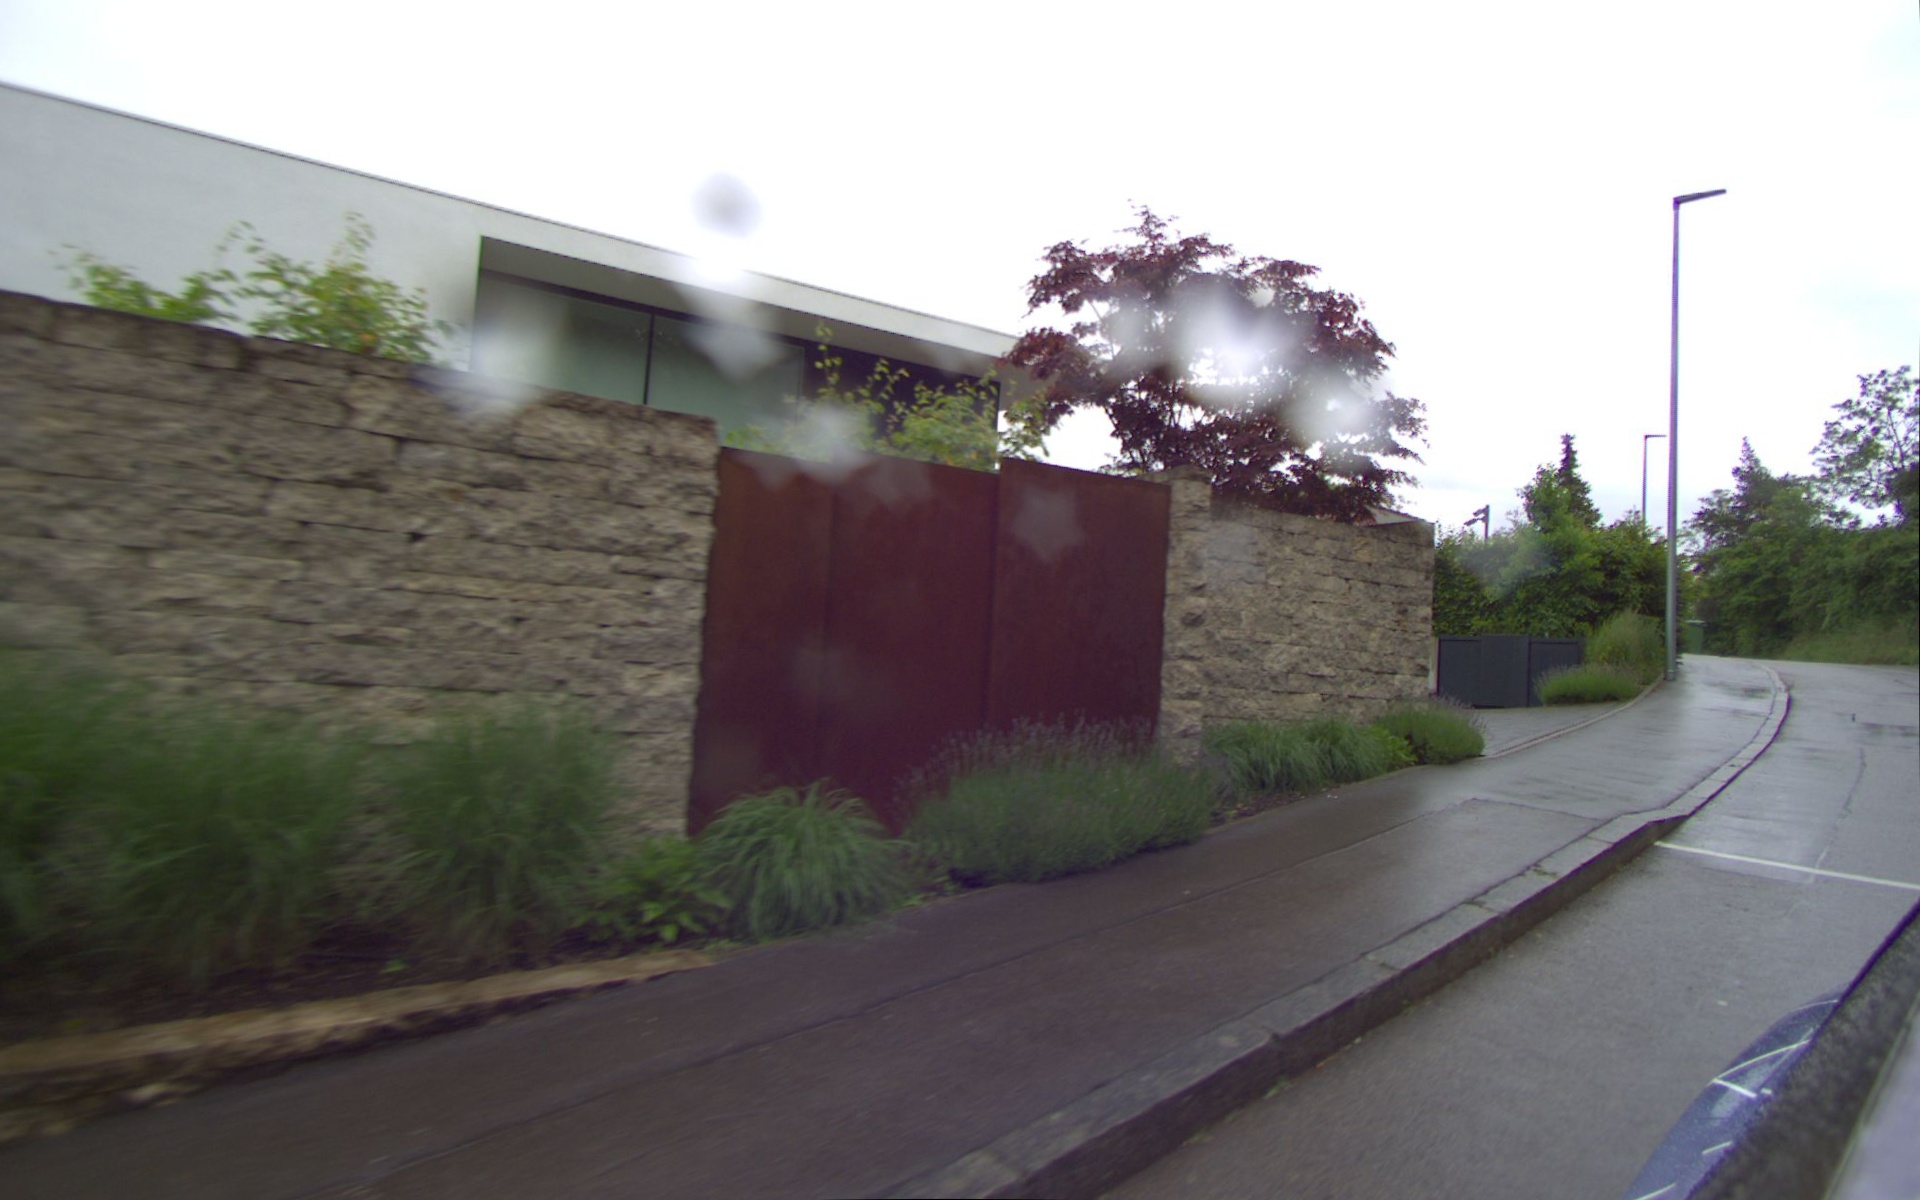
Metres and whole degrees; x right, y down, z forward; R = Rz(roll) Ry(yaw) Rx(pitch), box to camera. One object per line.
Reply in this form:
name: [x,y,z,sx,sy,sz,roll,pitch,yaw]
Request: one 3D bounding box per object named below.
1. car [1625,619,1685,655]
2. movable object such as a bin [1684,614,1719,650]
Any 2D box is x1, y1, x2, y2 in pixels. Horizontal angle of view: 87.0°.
car: [35.731,1.934,52.124,1.863,1.612,4.436,2,-3,26]
movable object such as a bin: [24.539,1.062,33.502,0.786,1.109,0.668,6,1,30]
